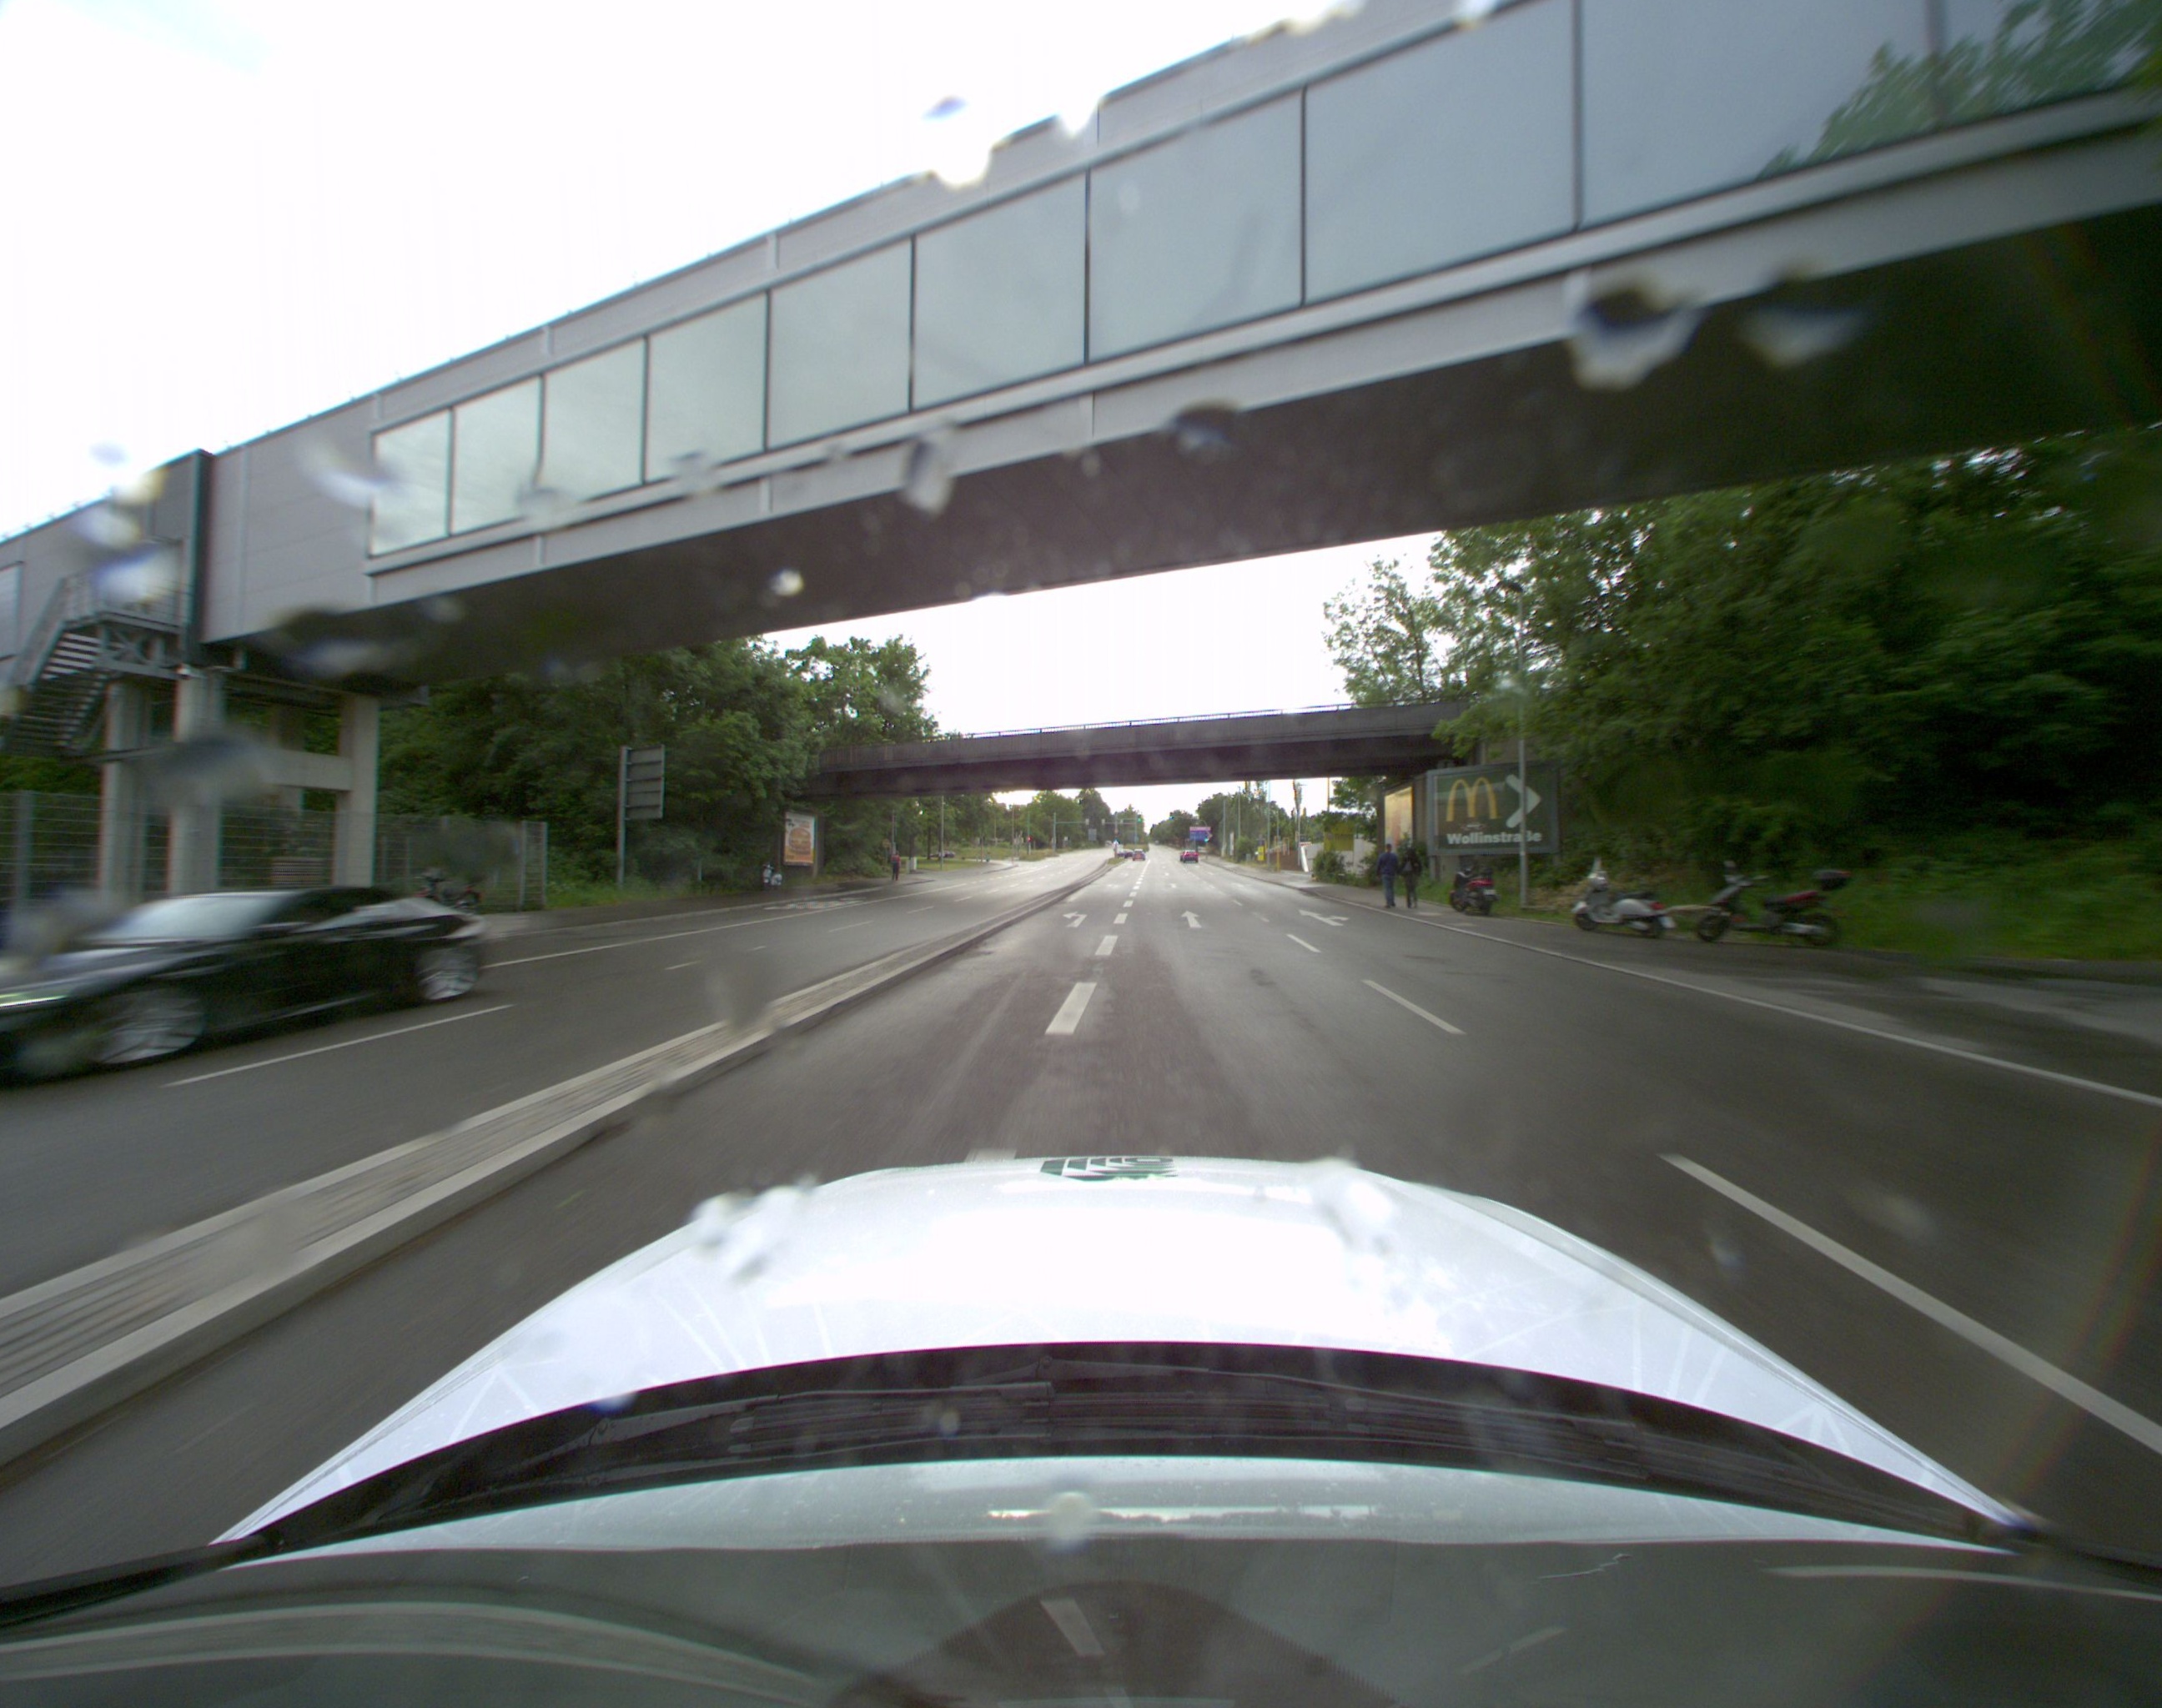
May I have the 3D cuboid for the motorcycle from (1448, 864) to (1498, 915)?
[{"bbox_3d":[9.386,0.827,19.556,0.467,1.136,1.821,-1,0,5],"label":"motorcycle"}]

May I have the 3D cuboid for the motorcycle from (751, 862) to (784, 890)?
[{"bbox_3d":[-13.965,0.978,36.349,0.466,1.158,1.937,-1,0,8],"label":"motorcycle"}]

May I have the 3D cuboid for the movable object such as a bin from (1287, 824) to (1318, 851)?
[{"bbox_3d":[27.974,-2.123,103.022,2.296,3.275,5.420,0,1,-3],"label":"movable object such as a bin"}]

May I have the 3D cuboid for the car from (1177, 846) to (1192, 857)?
[{"bbox_3d":[13.639,-0.347,107.544,1.737,1.470,4.171,0,1,4],"label":"car"}]

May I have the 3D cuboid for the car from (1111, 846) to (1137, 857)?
[{"bbox_3d":[6.677,-0.377,127.630,2.177,1.582,4.625,2,-1,-25],"label":"car"}]

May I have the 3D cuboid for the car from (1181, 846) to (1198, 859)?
[{"bbox_3d":[13.027,-0.152,97.910,1.737,1.470,4.171,0,1,4],"label":"car"}]

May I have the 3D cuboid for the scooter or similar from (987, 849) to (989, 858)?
[{"bbox_3d":[-12.087,-0.063,105.822,0.311,1.218,1.304,0,1,-9],"label":"scooter or similar"}]

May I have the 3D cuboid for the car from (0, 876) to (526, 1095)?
[{"bbox_3d":[-8.232,0.974,8.000,2.054,1.361,4.762,-1,0,4],"label":"car"}]

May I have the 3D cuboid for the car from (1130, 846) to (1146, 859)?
[{"bbox_3d":[7.939,-0.247,113.761,2.067,1.718,4.202,2,-1,3],"label":"car"}]

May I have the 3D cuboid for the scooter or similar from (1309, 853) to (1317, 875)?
[{"bbox_3d":[12.277,0.528,43.117,0.253,1.129,1.286,0,0,22],"label":"scooter or similar"}]

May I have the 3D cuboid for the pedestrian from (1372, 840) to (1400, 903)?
[{"bbox_3d":[8.525,0.471,22.787,0.606,1.721,0.895,-1,0,15],"label":"pedestrian"}]

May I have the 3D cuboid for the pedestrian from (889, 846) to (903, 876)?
[{"bbox_3d":[-11.281,0.414,49.576,0.516,1.816,0.802,0,0,15],"label":"pedestrian"}]

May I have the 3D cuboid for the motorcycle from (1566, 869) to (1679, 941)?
[{"bbox_3d":[9.997,0.902,15.128,0.470,1.213,1.935,-1,0,-13],"label":"motorcycle"}]

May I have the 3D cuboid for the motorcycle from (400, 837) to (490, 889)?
[{"bbox_3d":[-15.432,0.207,19.831,0.466,1.205,1.999,-1,0,5],"label":"motorcycle"}]

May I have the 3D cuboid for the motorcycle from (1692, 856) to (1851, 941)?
[{"bbox_3d":[11.201,0.689,13.281,1.919,1.297,0.551,-1,-1,40],"label":"motorcycle"}]

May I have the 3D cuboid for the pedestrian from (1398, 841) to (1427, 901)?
[{"bbox_3d":[8.995,0.459,22.129,0.645,1.596,0.581,-1,-1,16],"label":"pedestrian"}]
